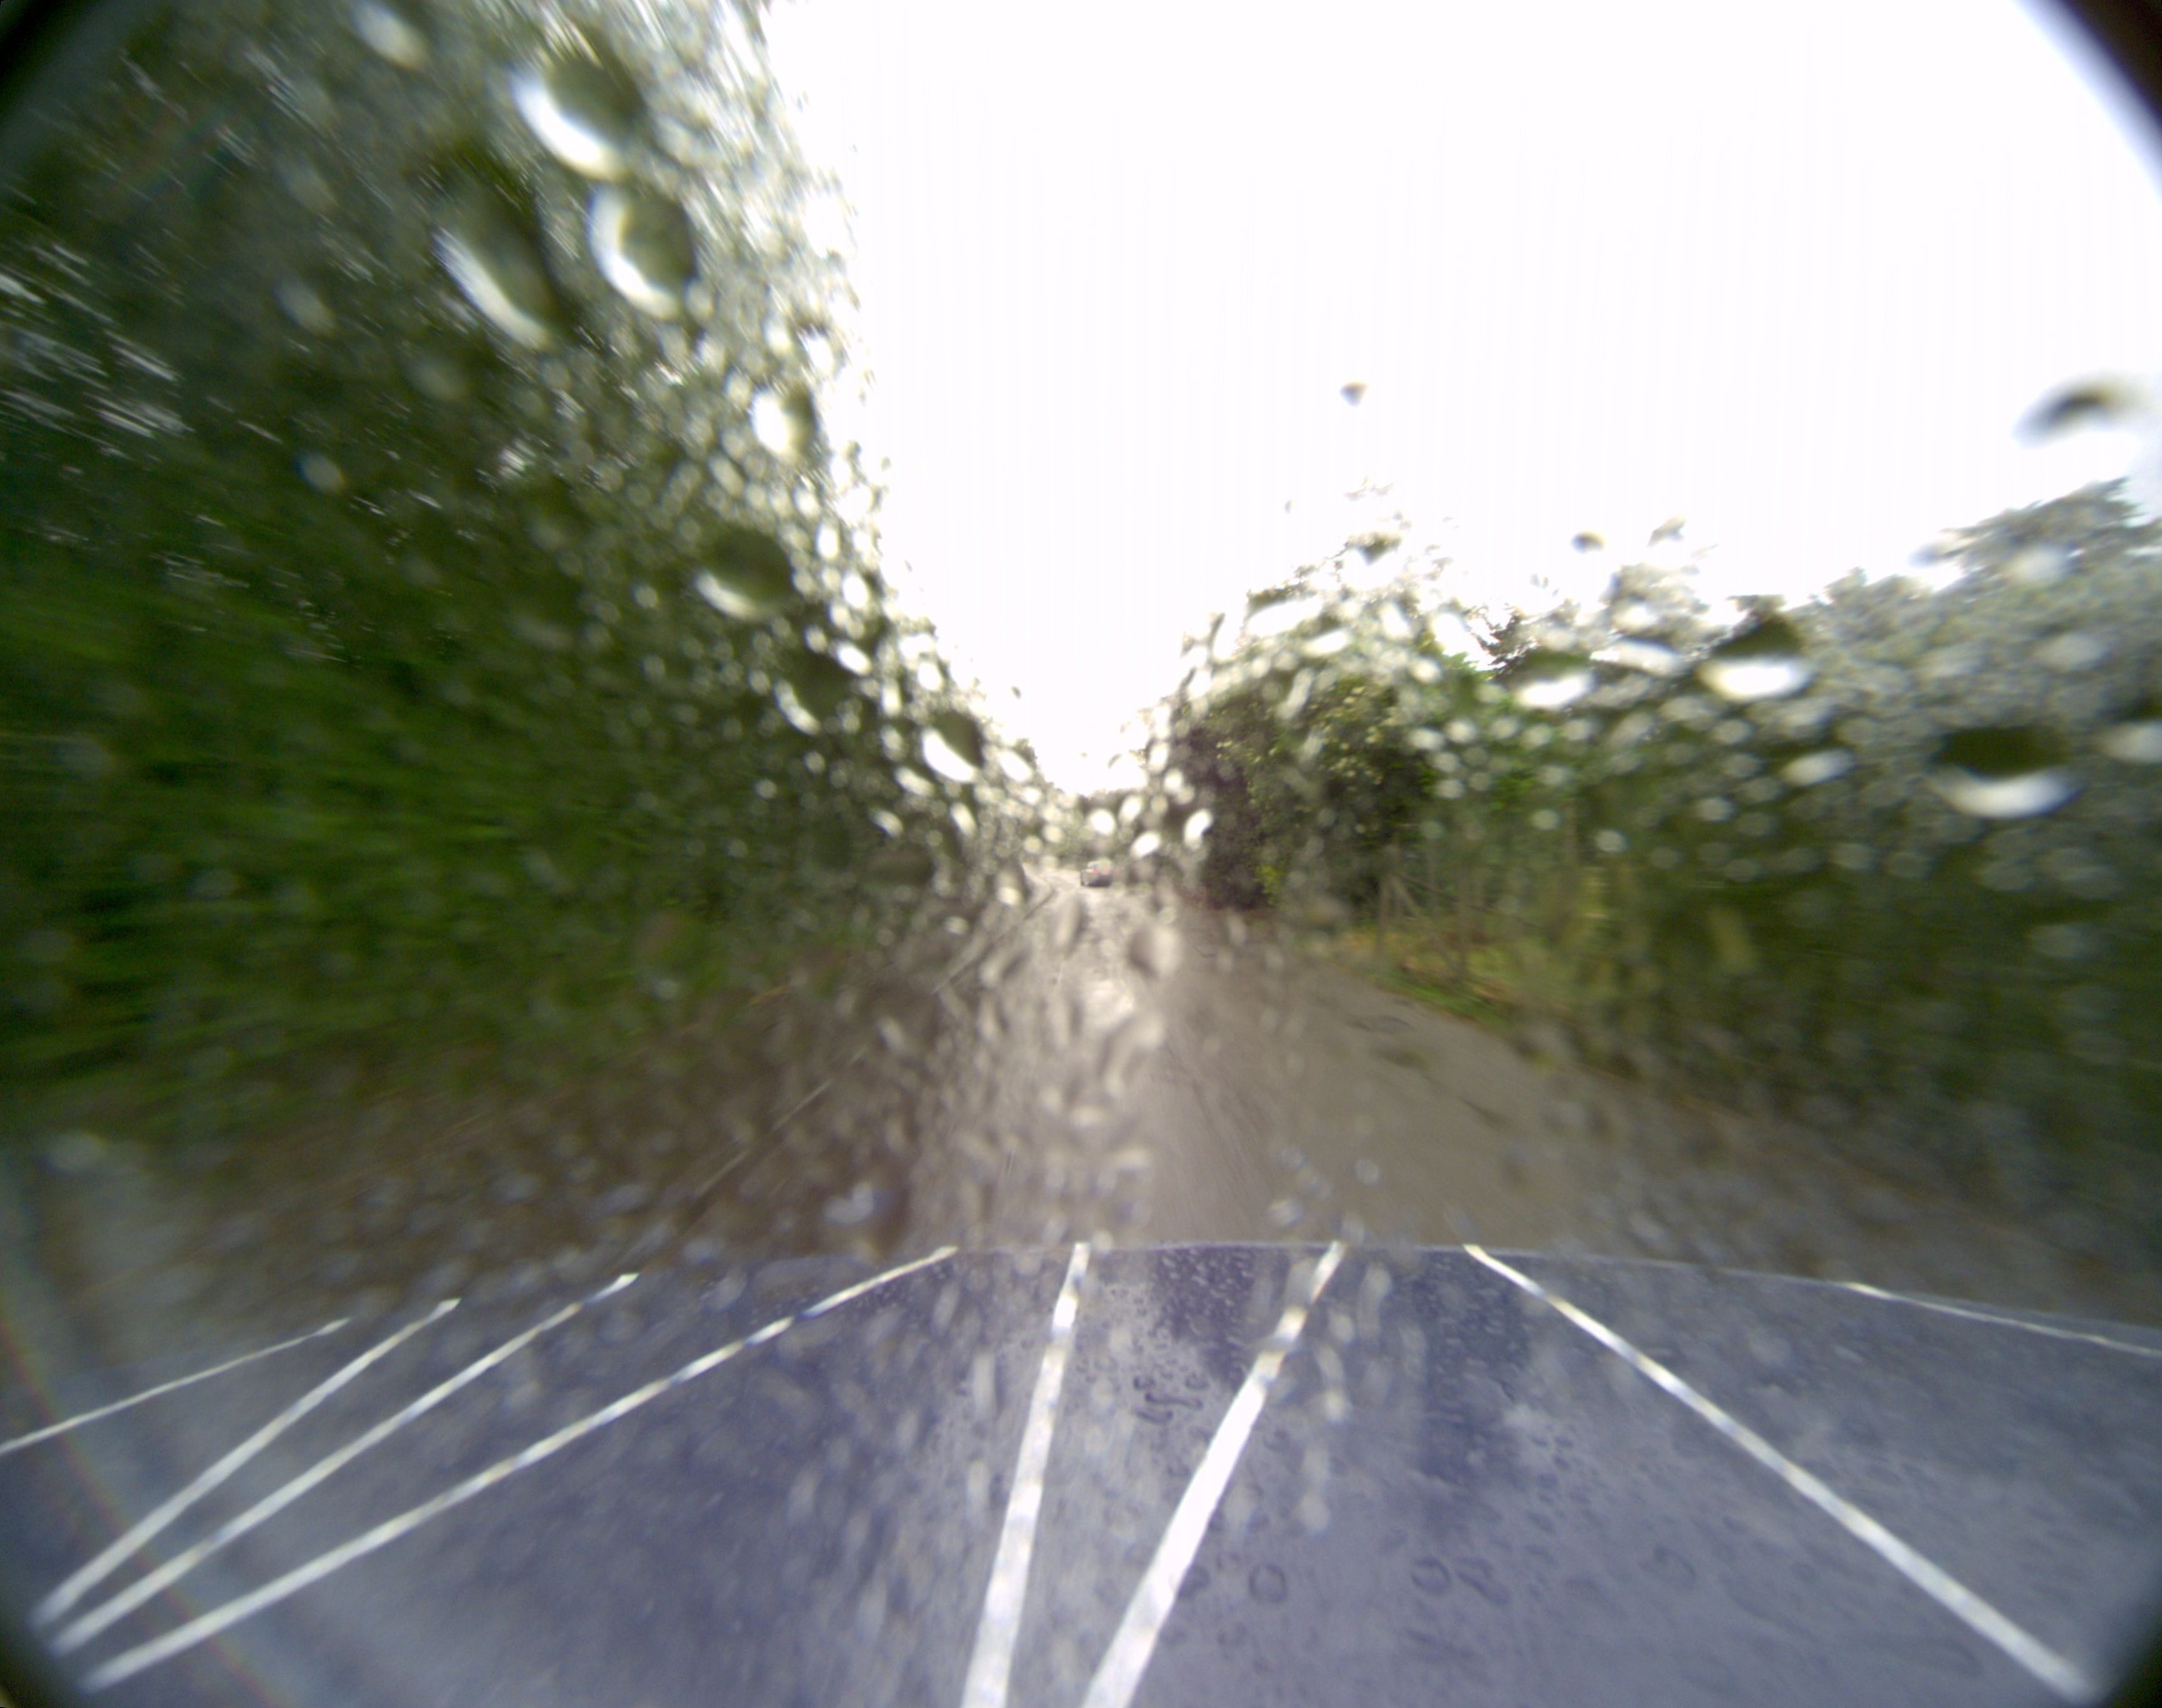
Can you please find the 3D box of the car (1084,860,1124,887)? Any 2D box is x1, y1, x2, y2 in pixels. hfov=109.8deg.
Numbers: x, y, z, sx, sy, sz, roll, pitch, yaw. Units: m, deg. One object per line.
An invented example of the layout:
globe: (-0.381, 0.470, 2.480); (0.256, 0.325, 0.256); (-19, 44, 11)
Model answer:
car: (1.411, 1.192, 48.154); (1.894, 1.514, 4.419); (-2, 0, -6)
